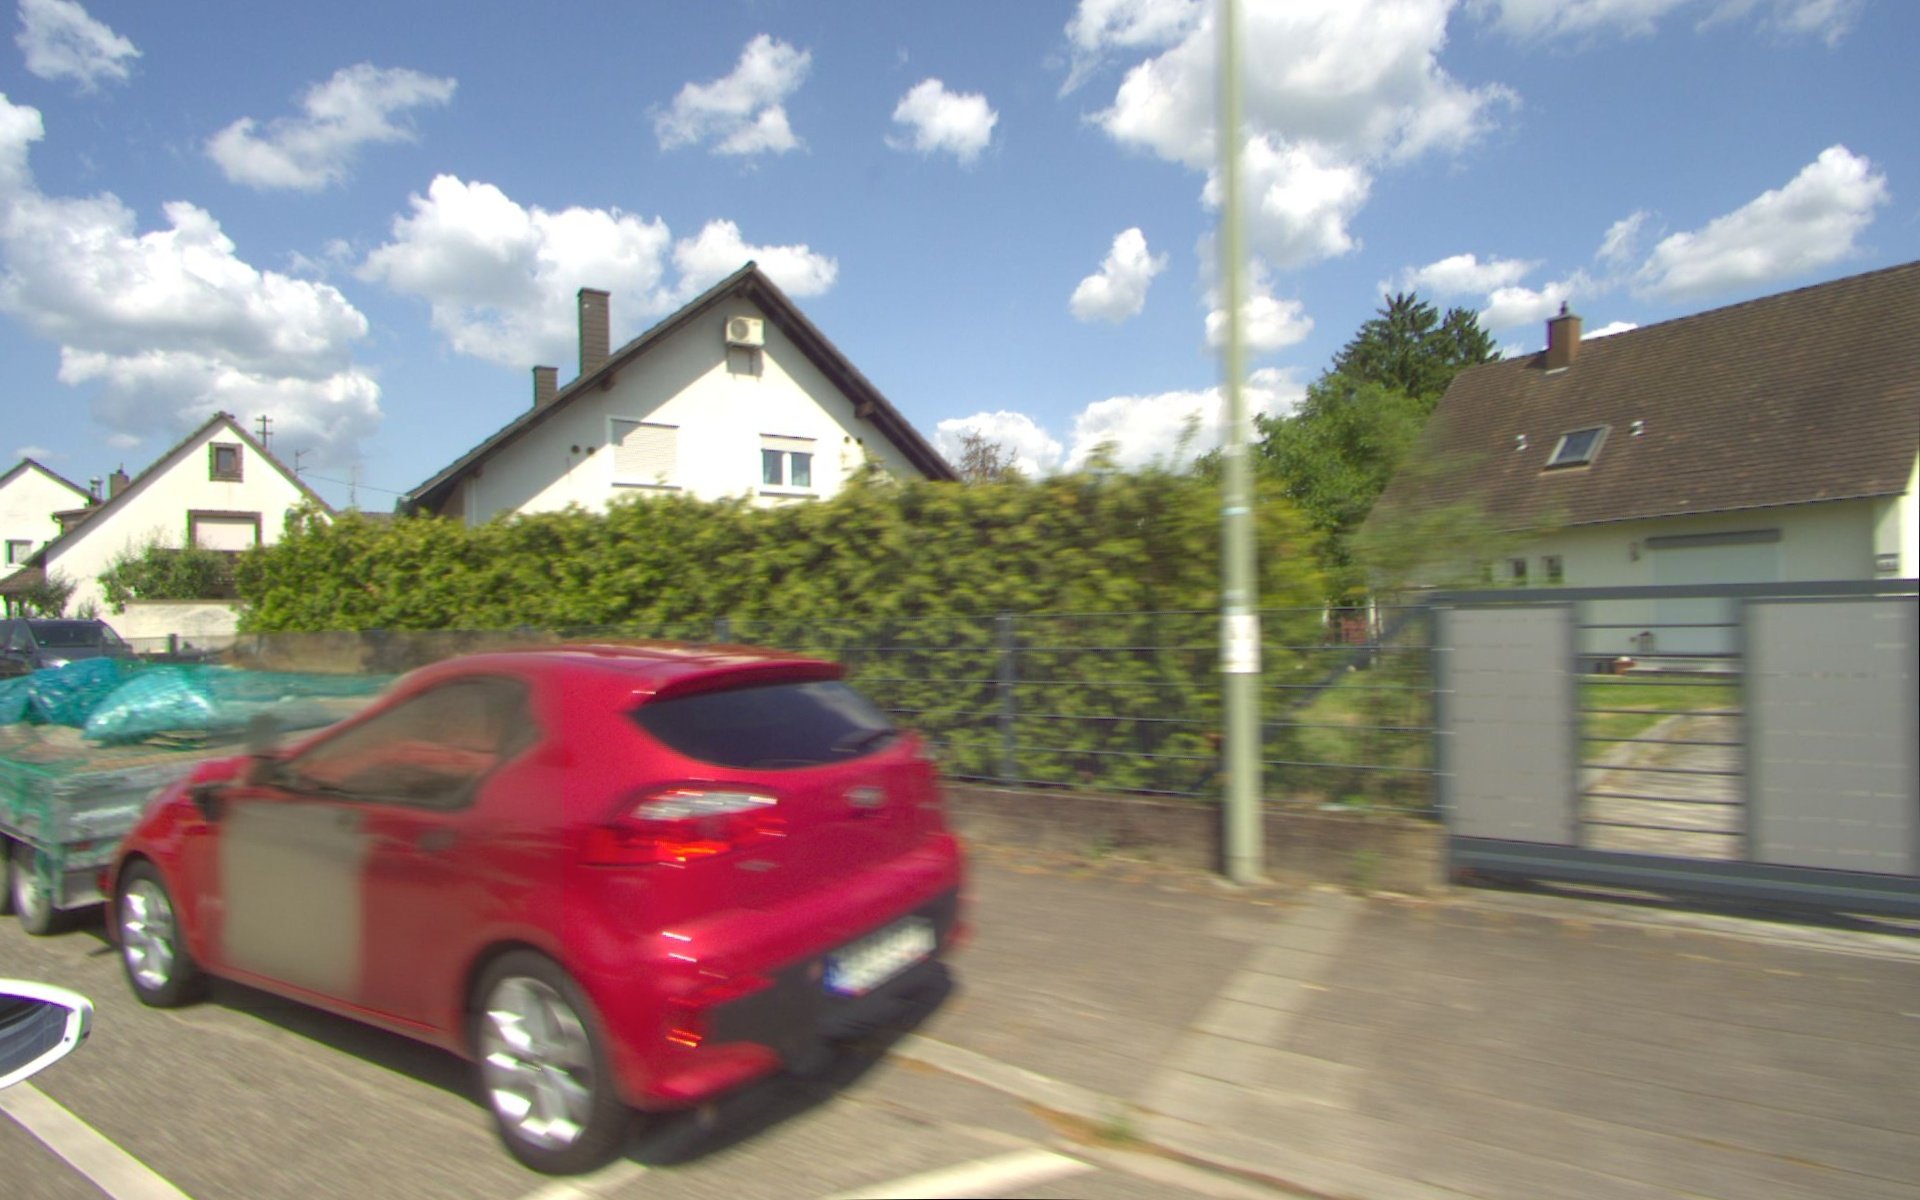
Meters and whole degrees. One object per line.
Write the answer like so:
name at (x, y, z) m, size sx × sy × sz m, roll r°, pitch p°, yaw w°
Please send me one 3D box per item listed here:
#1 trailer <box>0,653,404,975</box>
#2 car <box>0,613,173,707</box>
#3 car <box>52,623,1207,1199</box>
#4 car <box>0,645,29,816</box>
trailer at (-5.496, 1.047, 6.320) m, size 4.370 × 1.395 × 1.605 m, roll -2°, pitch -2°, yaw 32°
car at (-19.706, 1.269, 22.084) m, size 4.943 × 1.890 × 1.855 m, roll -1°, pitch -1°, yaw 28°
car at (-1.583, 0.872, 3.947) m, size 4.687 × 1.481 × 1.689 m, roll -2°, pitch -2°, yaw 31°
car at (-10.240, 1.152, 9.120) m, size 4.089 × 1.453 × 1.681 m, roll -2°, pitch -2°, yaw 34°
